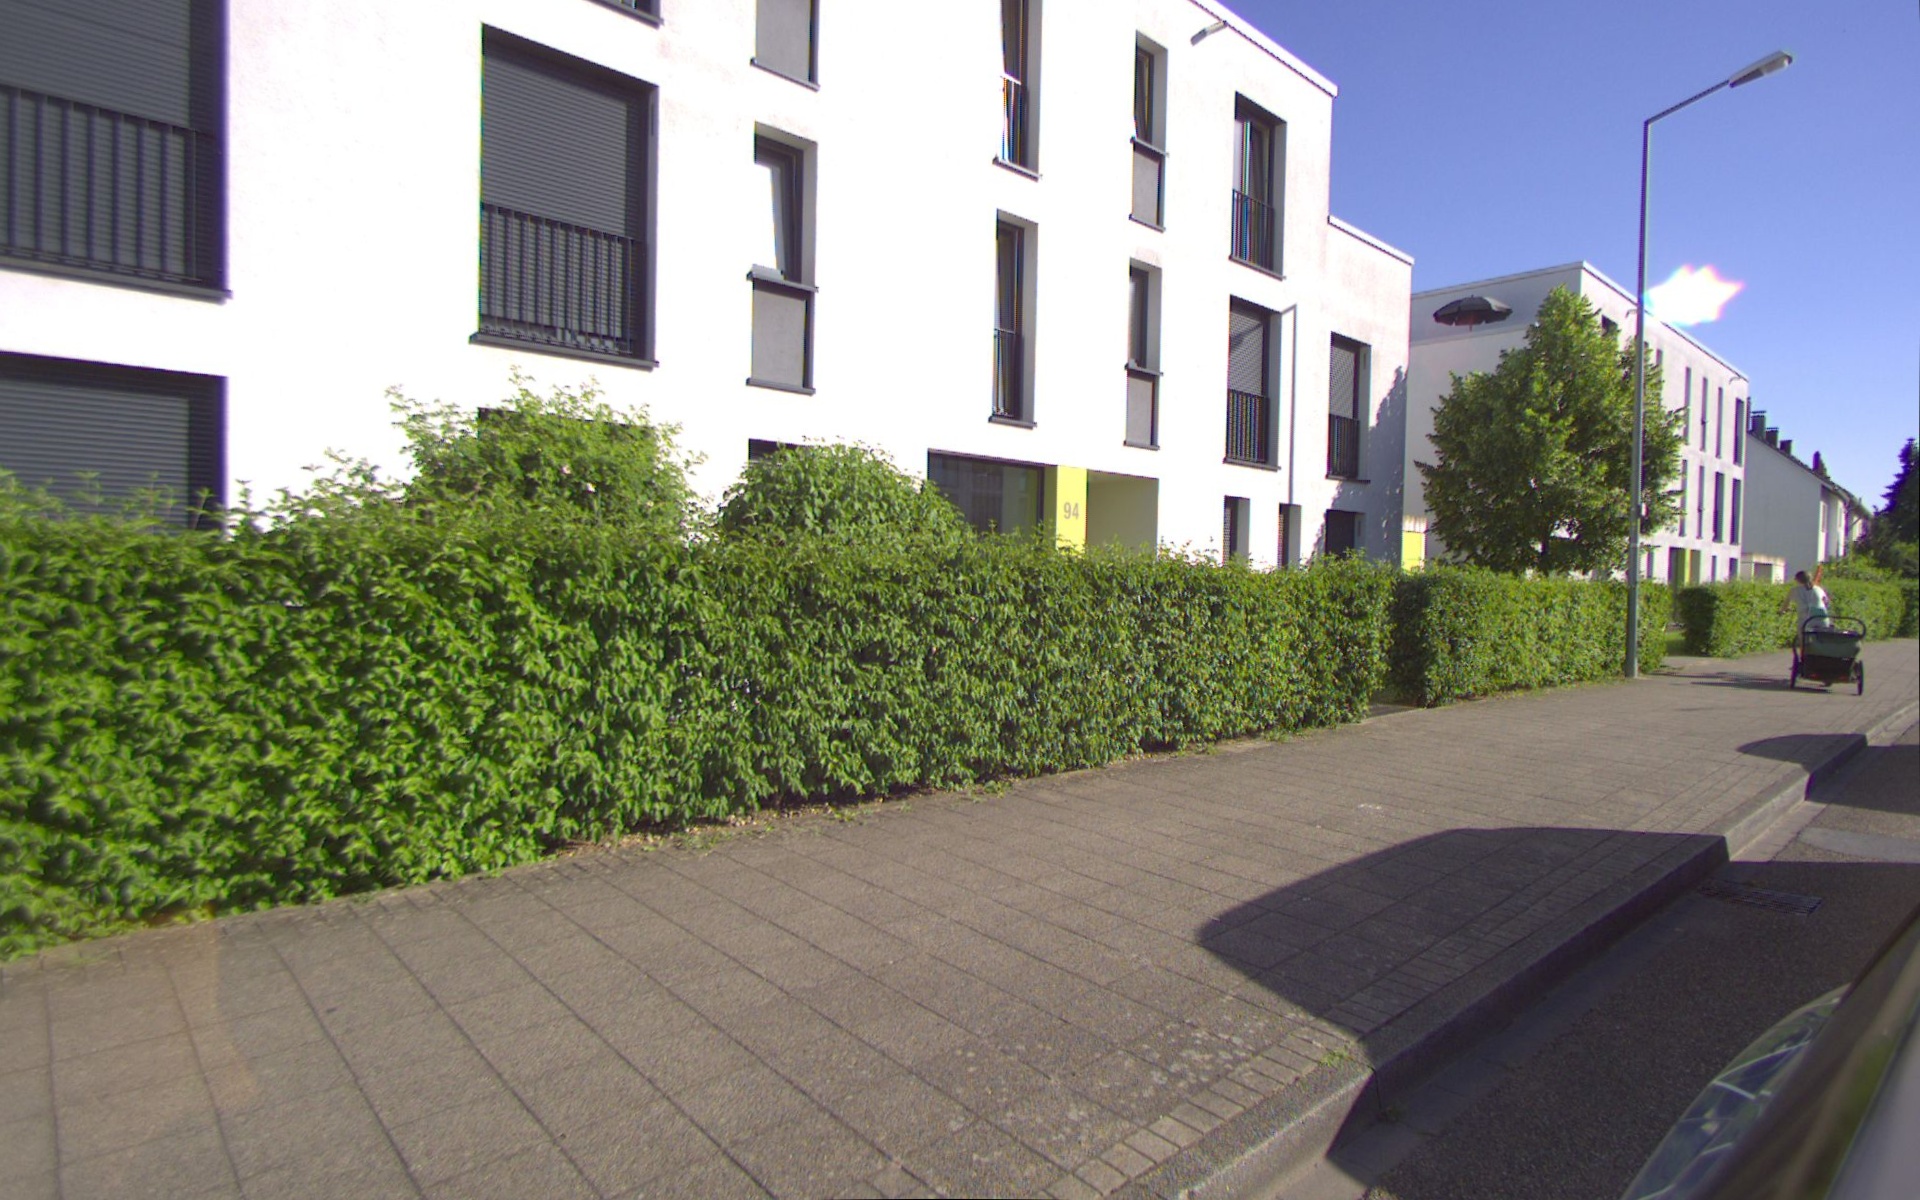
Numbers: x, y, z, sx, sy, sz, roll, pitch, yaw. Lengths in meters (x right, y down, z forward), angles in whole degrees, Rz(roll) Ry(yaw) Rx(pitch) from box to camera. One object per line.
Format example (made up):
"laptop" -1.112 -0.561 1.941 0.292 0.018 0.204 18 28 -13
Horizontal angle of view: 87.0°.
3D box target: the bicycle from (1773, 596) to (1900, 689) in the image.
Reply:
"bicycle" 13.205 0.576 15.359 0.924 1.187 3.090 2 2 32

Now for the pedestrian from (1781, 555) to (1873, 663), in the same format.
"pedestrian" 13.474 0.116 15.766 0.907 1.613 0.845 2 2 32
